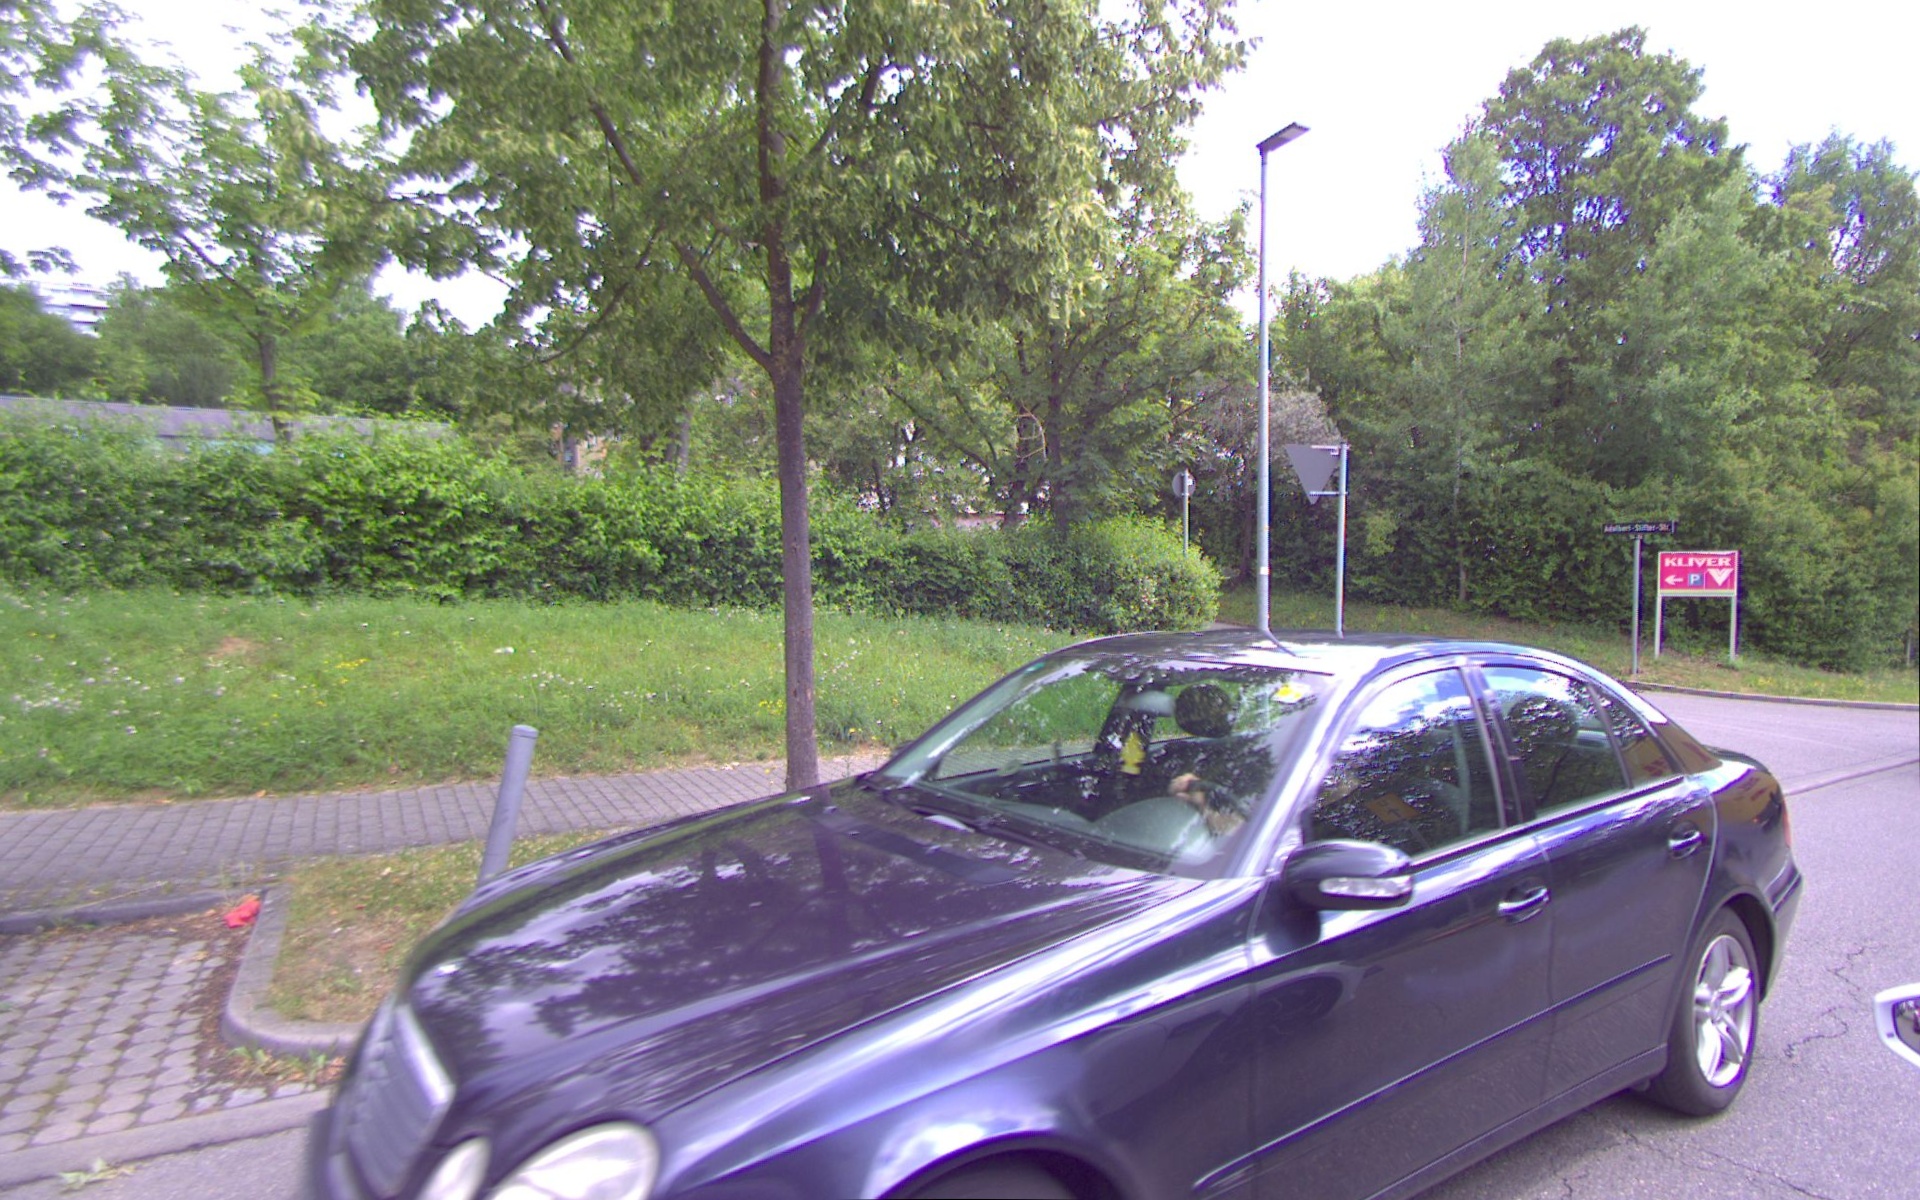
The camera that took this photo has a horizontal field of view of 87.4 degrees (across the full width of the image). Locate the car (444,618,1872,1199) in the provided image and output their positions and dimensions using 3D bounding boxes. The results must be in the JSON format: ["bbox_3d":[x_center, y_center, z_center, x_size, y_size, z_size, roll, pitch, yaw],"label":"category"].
[{"bbox_3d":[0.907,0.798,3.095,4.320,1.438,1.742,1,0,-32],"label":"car"}]

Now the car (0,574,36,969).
[{"bbox_3d":[-4.939,0.610,2.167,4.000,1.424,1.799,2,2,-30],"label":"car"}]
